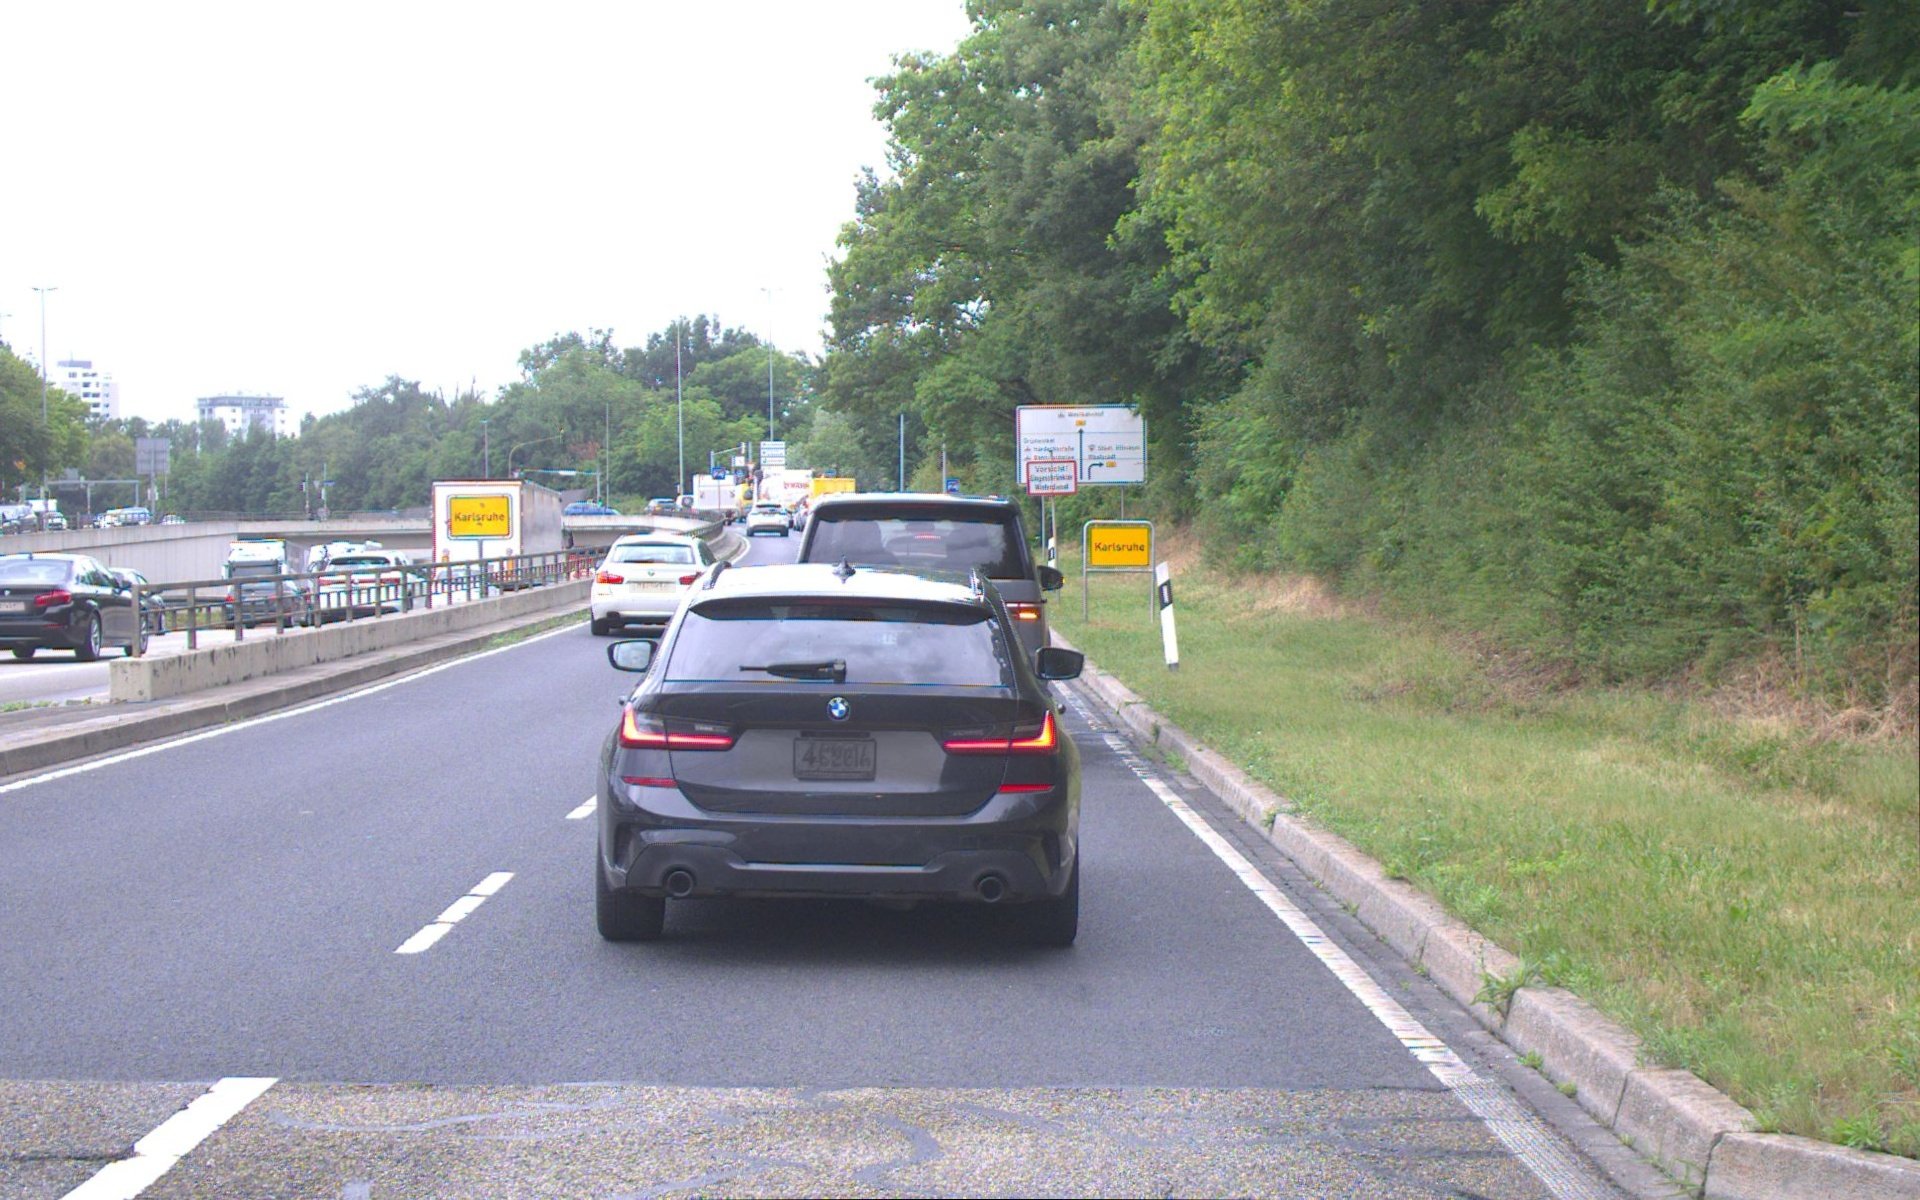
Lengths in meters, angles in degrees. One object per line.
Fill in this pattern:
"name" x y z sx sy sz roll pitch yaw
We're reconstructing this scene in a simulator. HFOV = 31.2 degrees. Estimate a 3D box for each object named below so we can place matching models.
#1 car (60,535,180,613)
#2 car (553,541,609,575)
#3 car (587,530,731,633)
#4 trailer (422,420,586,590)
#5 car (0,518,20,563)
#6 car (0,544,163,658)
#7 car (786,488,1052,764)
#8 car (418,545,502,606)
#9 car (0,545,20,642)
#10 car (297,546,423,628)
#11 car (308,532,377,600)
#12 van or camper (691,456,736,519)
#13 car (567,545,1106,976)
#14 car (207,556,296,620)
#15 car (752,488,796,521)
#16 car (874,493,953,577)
"car" -18.005 -0.583 73.806 1.687 1.602 4.008 1 1 -2
"car" -22.685 -2.522 205.557 3.202 2.021 5.077 0 1 -8
"car" -4.468 -0.311 51.580 1.859 1.459 4.885 1 1 -2
"trailer" -13.568 -2.775 103.606 3.132 4.709 14.559 1 1 -1
"car" -40.447 -2.480 143.190 1.655 1.830 3.622 0 1 -1
"car" -12.363 -0.025 47.323 1.712 1.452 4.666 1 1 0
"car" -0.301 0.143 25.405 1.796 1.865 4.000 0 1 -1
"car" -12.920 -0.645 88.954 1.768 1.544 3.493 0 1 -2
"car" -17.497 -0.094 58.589 1.890 1.675 4.307 0 1 -2
"car" -12.841 -0.296 73.780 1.946 1.686 4.507 0 1 0
"car" -18.869 -1.069 105.195 1.443 2.037 3.680 0 1 0
"van or camper" -11.284 -5.149 157.681 1.993 2.811 4.001 0 1 -3
"car" -0.511 0.529 13.956 1.846 1.461 4.001 1 1 -2
"car" -18.973 -0.345 92.182 1.687 1.626 3.735 1 1 -2
"car" -9.047 -4.617 166.865 1.930 1.590 3.878 0 1 -6
"car" -0.867 -1.219 64.744 1.452 1.535 3.225 0 1 -1
